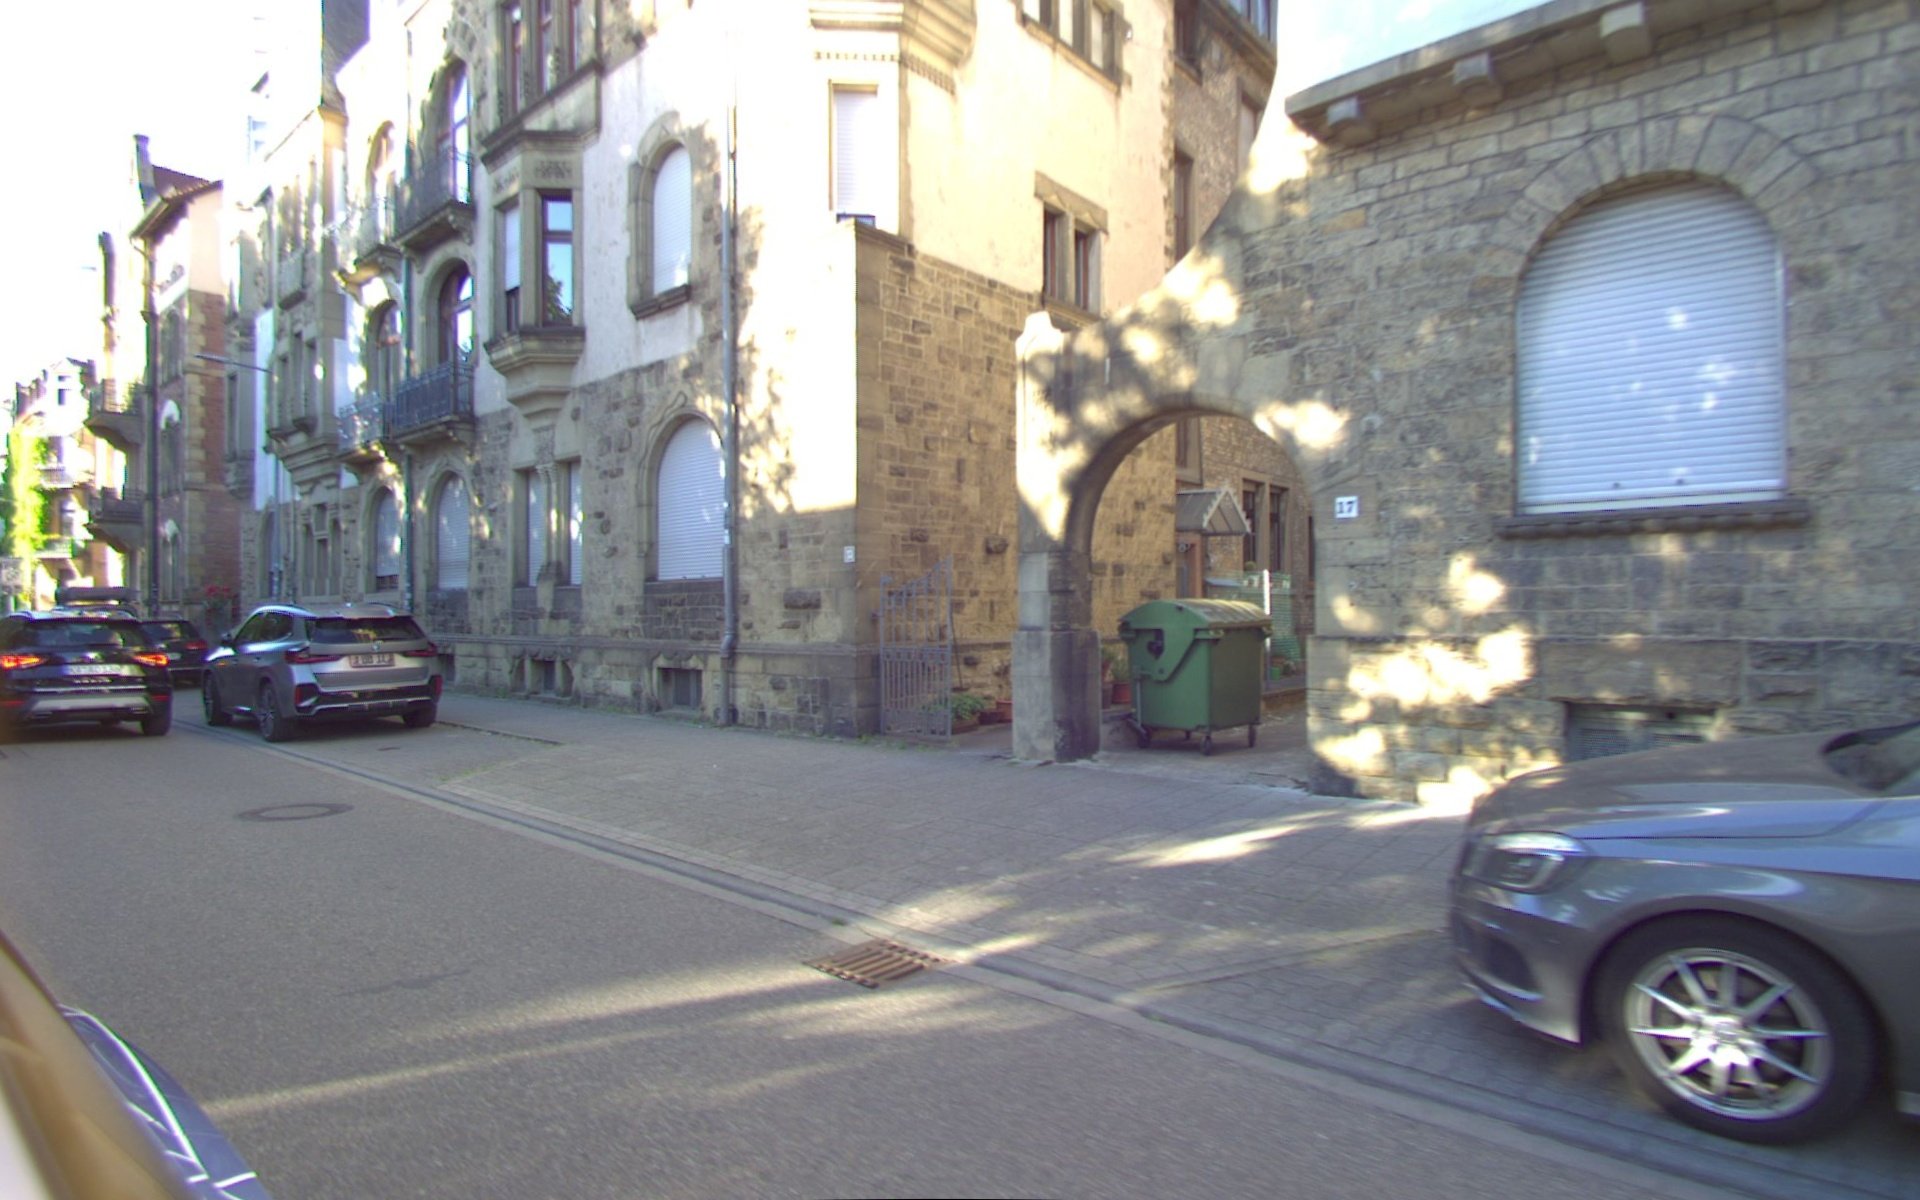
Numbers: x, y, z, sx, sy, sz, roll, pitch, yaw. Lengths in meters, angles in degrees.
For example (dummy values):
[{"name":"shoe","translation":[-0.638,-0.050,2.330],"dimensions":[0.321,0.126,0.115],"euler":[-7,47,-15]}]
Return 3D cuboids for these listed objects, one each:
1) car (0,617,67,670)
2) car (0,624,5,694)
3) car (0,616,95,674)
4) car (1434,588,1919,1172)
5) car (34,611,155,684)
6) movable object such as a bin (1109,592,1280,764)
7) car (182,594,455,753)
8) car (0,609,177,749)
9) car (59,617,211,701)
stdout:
[{"name":"car","translation":[-30.507,1.430,32.993],"dimensions":[3.854,1.516,1.612],"euler":[-3,1,42]},{"name":"car","translation":[-22.664,1.231,22.264],"dimensions":[4.565,1.474,1.844],"euler":[0,-3,40]},{"name":"car","translation":[-26.300,1.299,29.113],"dimensions":[3.854,1.458,1.612],"euler":[-3,1,42]},{"name":"car","translation":[3.639,0.677,2.573],"dimensions":[4.108,1.453,1.660],"euler":[-2,0,40]},{"name":"car","translation":[-22.117,1.142,25.809],"dimensions":[4.210,1.680,1.751],"euler":[0,0,41]},{"name":"movable object such as a bin","translation":[2.248,0.679,9.676],"dimensions":[1.173,1.489,1.180],"euler":[0,0,41]},{"name":"car","translation":[-8.447,0.833,13.164],"dimensions":[4.337,1.730,1.856],"euler":[-1,-1,41]},{"name":"car","translation":[-11.255,0.900,12.547],"dimensions":[3.756,1.489,1.610],"euler":[-1,-3,39]},{"name":"car","translation":[-17.215,1.139,21.059],"dimensions":[4.210,1.512,1.751],"euler":[1,0,41]}]
